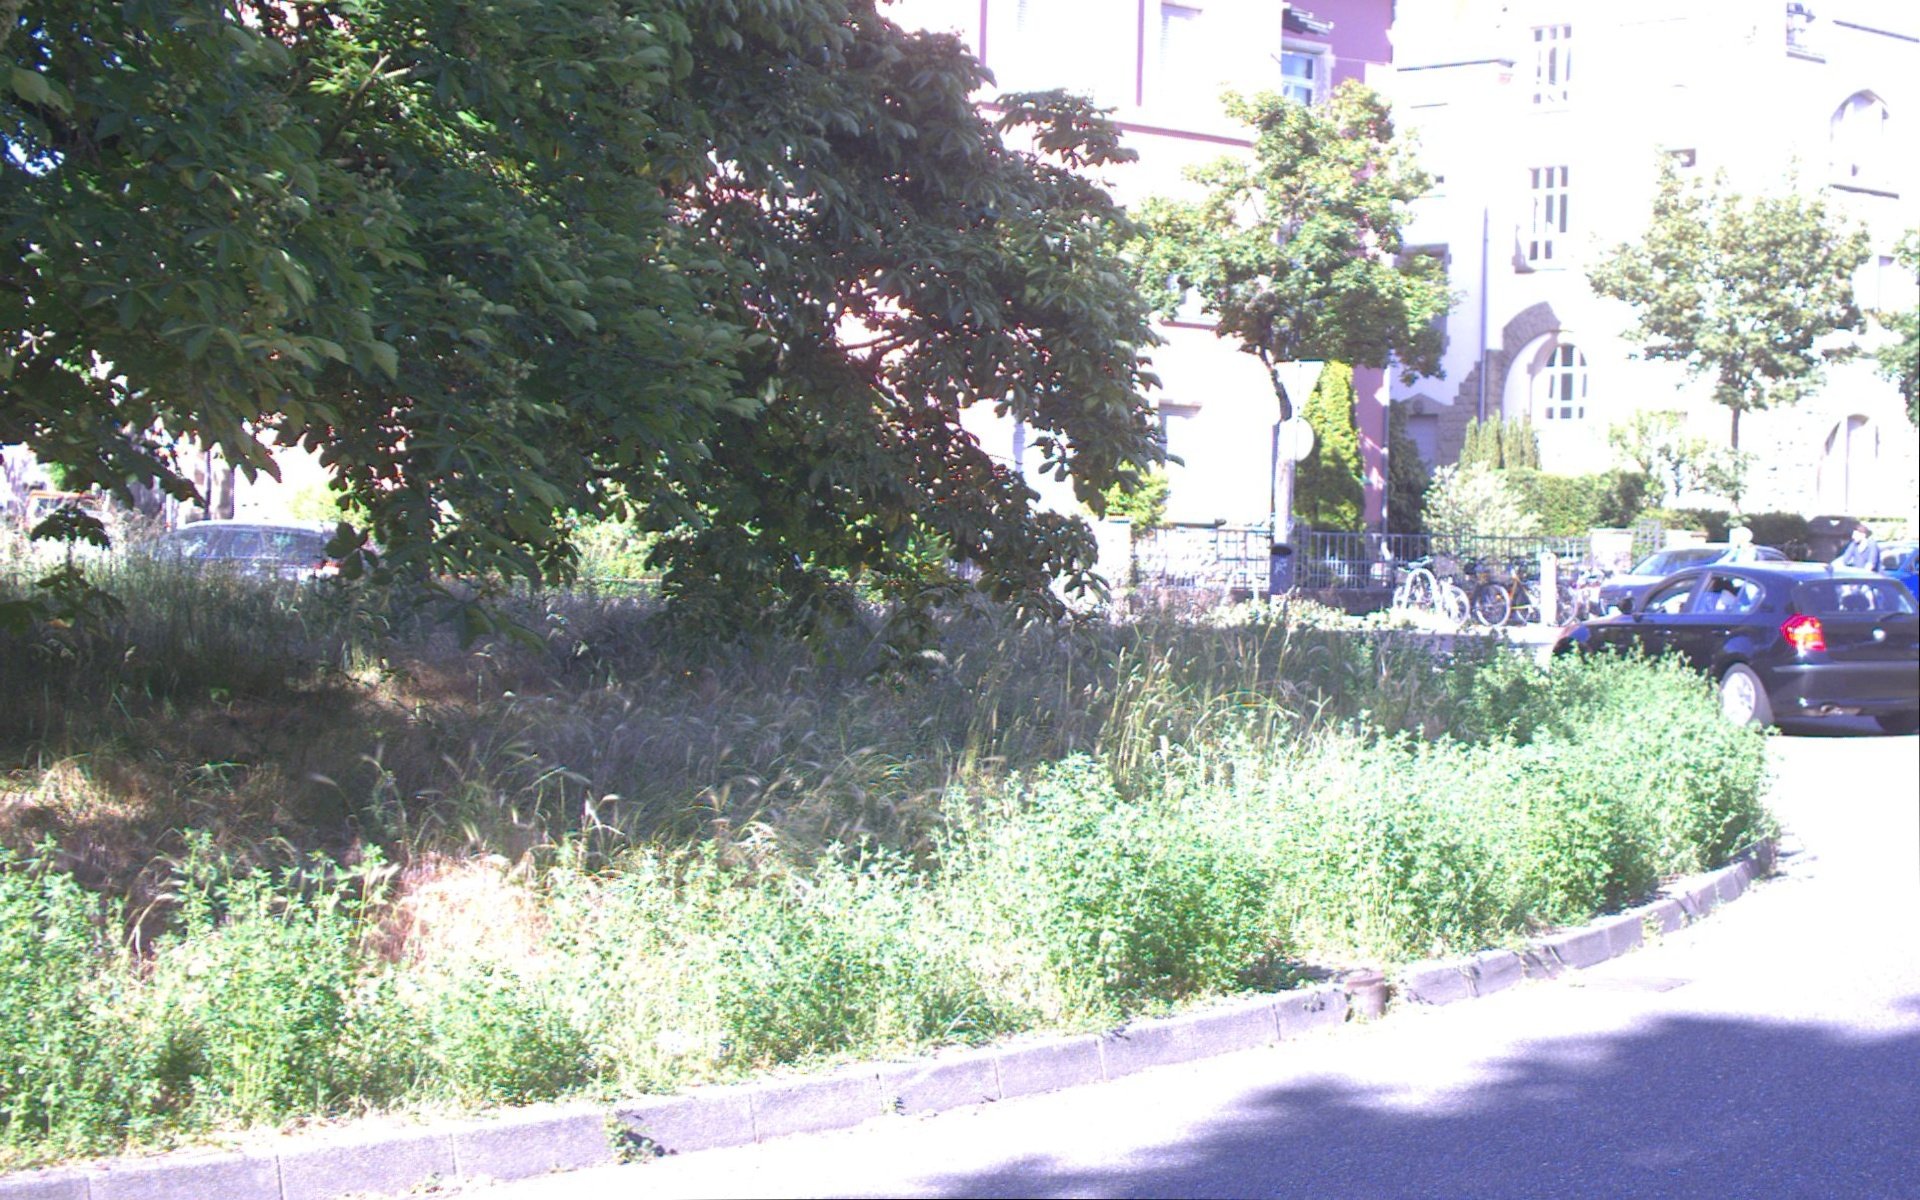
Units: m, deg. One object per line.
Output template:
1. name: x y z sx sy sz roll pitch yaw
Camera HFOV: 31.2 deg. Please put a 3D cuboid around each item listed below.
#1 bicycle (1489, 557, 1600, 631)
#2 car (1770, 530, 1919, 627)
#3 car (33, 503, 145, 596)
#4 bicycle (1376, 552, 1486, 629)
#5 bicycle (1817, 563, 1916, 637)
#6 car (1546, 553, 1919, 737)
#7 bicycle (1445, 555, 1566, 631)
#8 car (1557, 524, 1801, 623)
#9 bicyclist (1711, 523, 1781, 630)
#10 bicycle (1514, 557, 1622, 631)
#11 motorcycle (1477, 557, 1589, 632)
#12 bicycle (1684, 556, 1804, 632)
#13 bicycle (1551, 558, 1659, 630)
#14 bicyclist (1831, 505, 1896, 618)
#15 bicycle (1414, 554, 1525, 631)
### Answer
1. bicycle: 9.563 -0.107 56.288 1.725 1.103 0.500 5 3 40
2. car: 15.539 -0.349 57.471 4.387 1.556 1.808 0 0 -44
3. car: -14.643 -0.868 57.727 1.682 1.441 3.547 2 1 -16
4. bicycle: 7.417 -0.151 54.194 0.544 1.111 1.726 0 3 -43
5. bicycle: 14.008 0.006 53.123 1.712 1.104 0.645 1 0 -43
6. car: 6.813 0.333 29.286 1.864 1.414 4.001 0 1 -19
7. bicycle: 8.771 -0.122 55.333 1.827 1.103 0.500 4 3 31
8. car: 11.251 -0.393 53.628 1.808 1.478 4.328 -1 0 41
9. bicyclist: 11.685 -0.350 51.134 0.801 1.576 0.596 1 1 -21
10. bicycle: 10.030 -0.105 56.768 1.726 1.103 0.499 5 3 43
11. motorcycle: 9.297 -0.099 55.798 1.725 1.103 0.500 5 3 40
12. bicycle: 11.650 -0.088 51.089 1.857 1.104 0.596 0 1 -33
13. bicycle: 10.768 -0.110 57.425 1.726 1.103 0.514 5 3 43
14. bicyclist: 13.925 -0.594 53.010 0.721 1.708 0.645 1 0 -43
15. bicycle: 8.118 -0.129 54.815 0.544 1.111 1.726 0 3 -43
